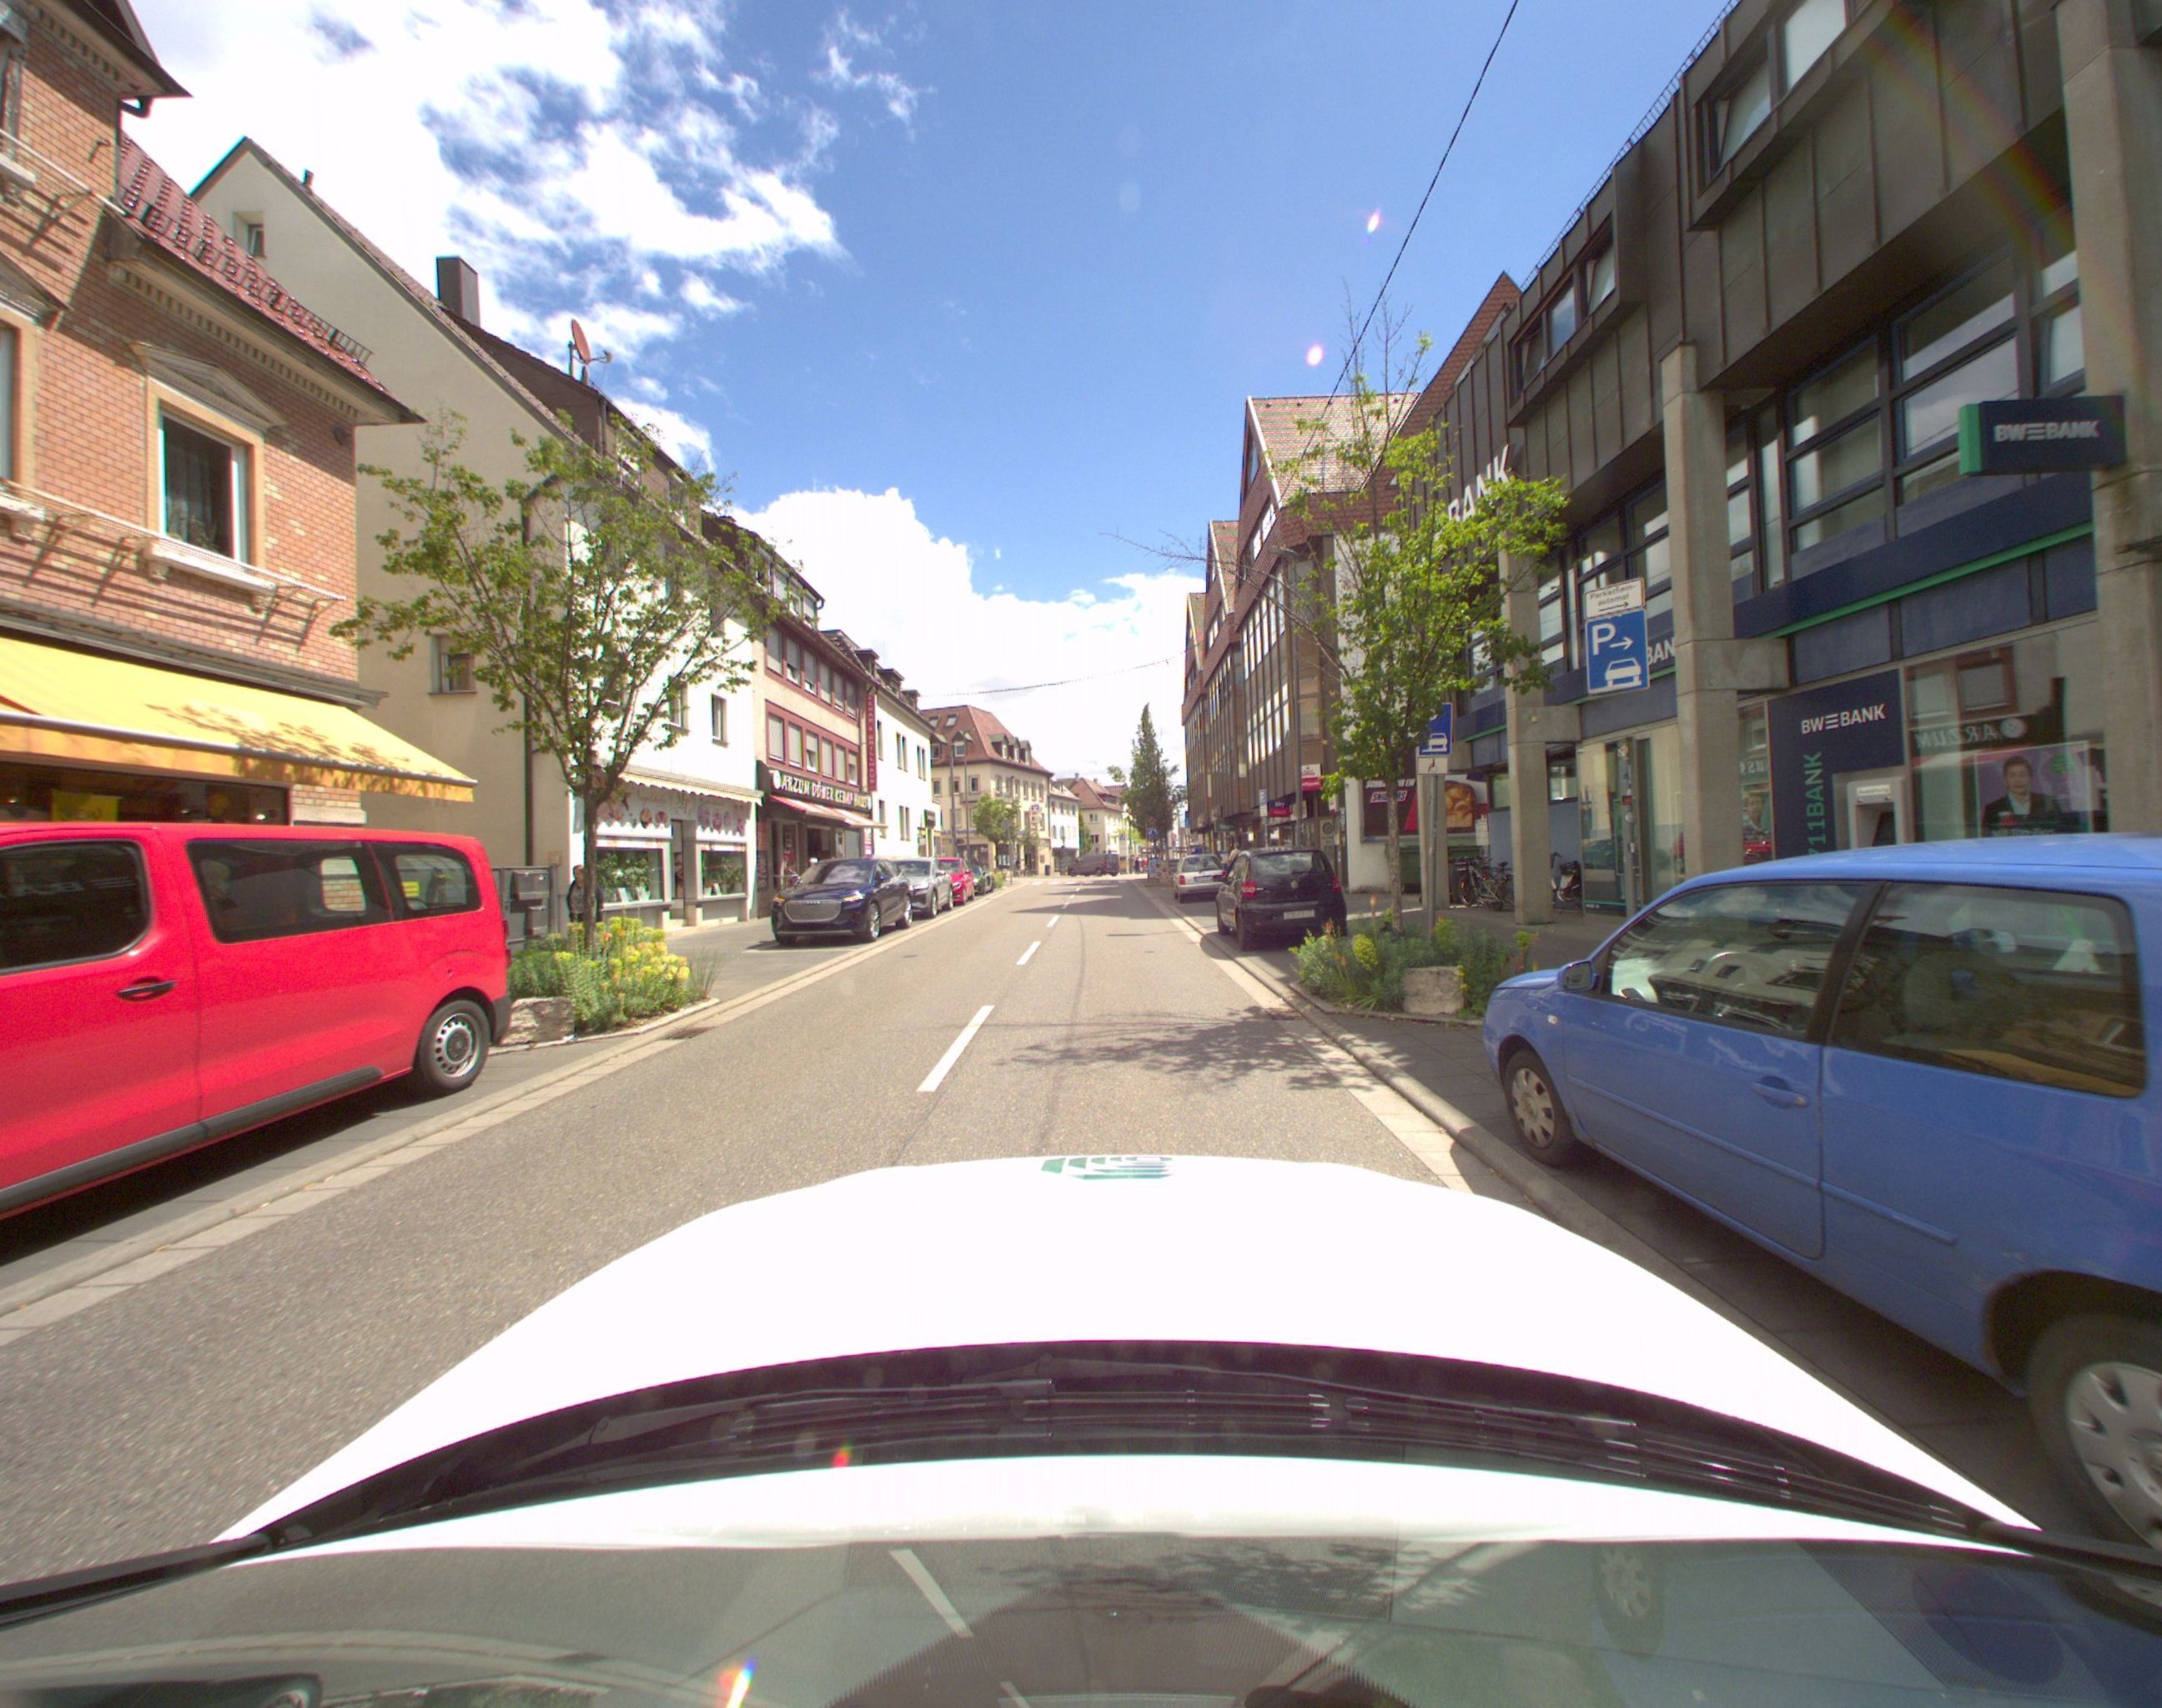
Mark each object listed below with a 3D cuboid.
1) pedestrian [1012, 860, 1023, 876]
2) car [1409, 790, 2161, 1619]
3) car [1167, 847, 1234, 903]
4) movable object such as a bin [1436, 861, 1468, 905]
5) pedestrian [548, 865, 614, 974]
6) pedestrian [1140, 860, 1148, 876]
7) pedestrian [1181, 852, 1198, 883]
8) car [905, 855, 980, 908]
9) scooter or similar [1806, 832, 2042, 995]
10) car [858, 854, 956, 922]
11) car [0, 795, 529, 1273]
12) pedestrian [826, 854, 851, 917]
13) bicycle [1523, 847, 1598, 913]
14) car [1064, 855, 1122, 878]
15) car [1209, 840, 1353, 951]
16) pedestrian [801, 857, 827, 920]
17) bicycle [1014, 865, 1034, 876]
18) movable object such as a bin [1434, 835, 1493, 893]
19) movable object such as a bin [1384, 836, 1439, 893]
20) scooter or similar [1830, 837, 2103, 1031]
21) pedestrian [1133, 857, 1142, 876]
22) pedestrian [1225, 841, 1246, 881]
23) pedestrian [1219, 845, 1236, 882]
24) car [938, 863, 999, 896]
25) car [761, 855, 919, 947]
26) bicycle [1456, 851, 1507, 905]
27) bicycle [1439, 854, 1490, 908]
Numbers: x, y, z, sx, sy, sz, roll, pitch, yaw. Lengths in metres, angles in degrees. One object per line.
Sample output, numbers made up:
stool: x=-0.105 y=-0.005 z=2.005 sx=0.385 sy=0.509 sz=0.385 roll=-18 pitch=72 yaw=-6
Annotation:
pedestrian: x=-5.965 y=1.294 z=76.567 sx=0.620 sy=1.532 sz=0.863 roll=-1 pitch=-1 yaw=25
car: x=2.887 y=0.647 z=3.191 sx=1.714 sy=1.494 sz=4.112 roll=-1 pitch=-1 yaw=3
car: x=3.705 y=0.621 z=25.762 sx=1.603 sy=1.495 sz=3.797 roll=-5 pitch=0 yaw=3
movable object such as a bin: x=8.543 y=0.666 z=18.760 sx=0.485 sy=0.999 sz=0.554 roll=-1 pitch=-1 yaw=4
pedestrian: x=-7.709 y=0.994 z=12.572 sx=0.586 sy=1.633 sz=0.662 roll=-1 pitch=-1 yaw=1
pedestrian: x=7.055 y=1.547 z=90.870 sx=0.722 sy=1.764 sz=0.751 roll=-1 pitch=-1 yaw=12
pedestrian: x=5.774 y=0.714 z=43.323 sx=0.781 sy=1.615 sz=0.800 roll=-1 pitch=-1 yaw=1
car: x=-4.608 y=0.873 z=27.631 sx=1.794 sy=1.604 sz=4.217 roll=-2 pitch=0 yaw=0
scooter or similar: x=7.189 y=0.468 z=7.054 sx=0.420 sy=1.246 sz=1.562 roll=-1 pitch=-1 yaw=1
car: x=-4.660 y=0.847 z=22.391 sx=1.794 sy=1.604 sz=4.348 roll=-2 pitch=0 yaw=-2
car: x=-5.211 y=0.733 z=4.016 sx=1.811 sy=1.889 sz=4.836 roll=-1 pitch=-1 yaw=-2
pedestrian: x=-6.440 y=0.821 z=21.594 sx=0.512 sy=1.648 sz=0.472 roll=-1 pitch=-1 yaw=0
bicycle: x=8.672 y=0.460 z=14.803 sx=0.423 sy=1.119 sz=1.742 roll=-1 pitch=-1 yaw=4
car: x=0.955 y=1.014 z=67.001 sx=2.058 sy=1.848 sz=4.941 roll=0 pitch=-1 yaw=-39
car: x=3.200 y=0.601 z=13.751 sx=1.603 sy=1.532 sz=3.797 roll=-3 pitch=0 yaw=3
pedestrian: x=-7.046 y=0.905 z=21.521 sx=0.500 sy=1.648 sz=0.574 roll=-1 pitch=-1 yaw=-1
bicycle: x=-5.086 y=1.472 z=72.576 sx=1.619 sy=1.031 sz=0.570 roll=-1 pitch=-1 yaw=16
movable object such as a bin: x=10.397 y=0.280 z=22.187 sx=1.137 sy=1.528 sz=1.033 roll=-1 pitch=-1 yaw=4
movable object such as a bin: x=9.101 y=0.298 z=22.483 sx=1.137 sy=1.528 sz=1.033 roll=-1 pitch=-1 yaw=4
scooter or similar: x=6.329 y=0.521 z=5.917 sx=0.405 sy=1.246 sz=1.321 roll=0 pitch=-1 yaw=-9
pedestrian: x=5.193 y=1.183 z=74.961 sx=0.865 sy=1.708 sz=0.531 roll=-1 pitch=-1 yaw=4
pedestrian: x=6.649 y=0.306 z=35.054 sx=0.658 sy=1.706 sz=0.642 roll=0 pitch=-1 yaw=-21
pedestrian: x=7.355 y=0.493 z=40.815 sx=0.734 sy=1.814 sz=0.712 roll=-1 pitch=-1 yaw=1
car: x=-4.659 y=1.024 z=34.303 sx=1.812 sy=1.224 sz=4.525 roll=0 pitch=0 yaw=1
car: x=-4.747 y=0.840 z=16.761 sx=1.792 sy=1.598 sz=4.390 roll=-2 pitch=0 yaw=2
bicycle: x=8.664 y=0.510 z=17.658 sx=0.423 sy=1.119 sz=1.503 roll=-1 pitch=-1 yaw=4
bicycle: x=8.175 y=0.547 z=17.420 sx=0.423 sy=1.081 sz=1.503 roll=-3 pitch=0 yaw=4
